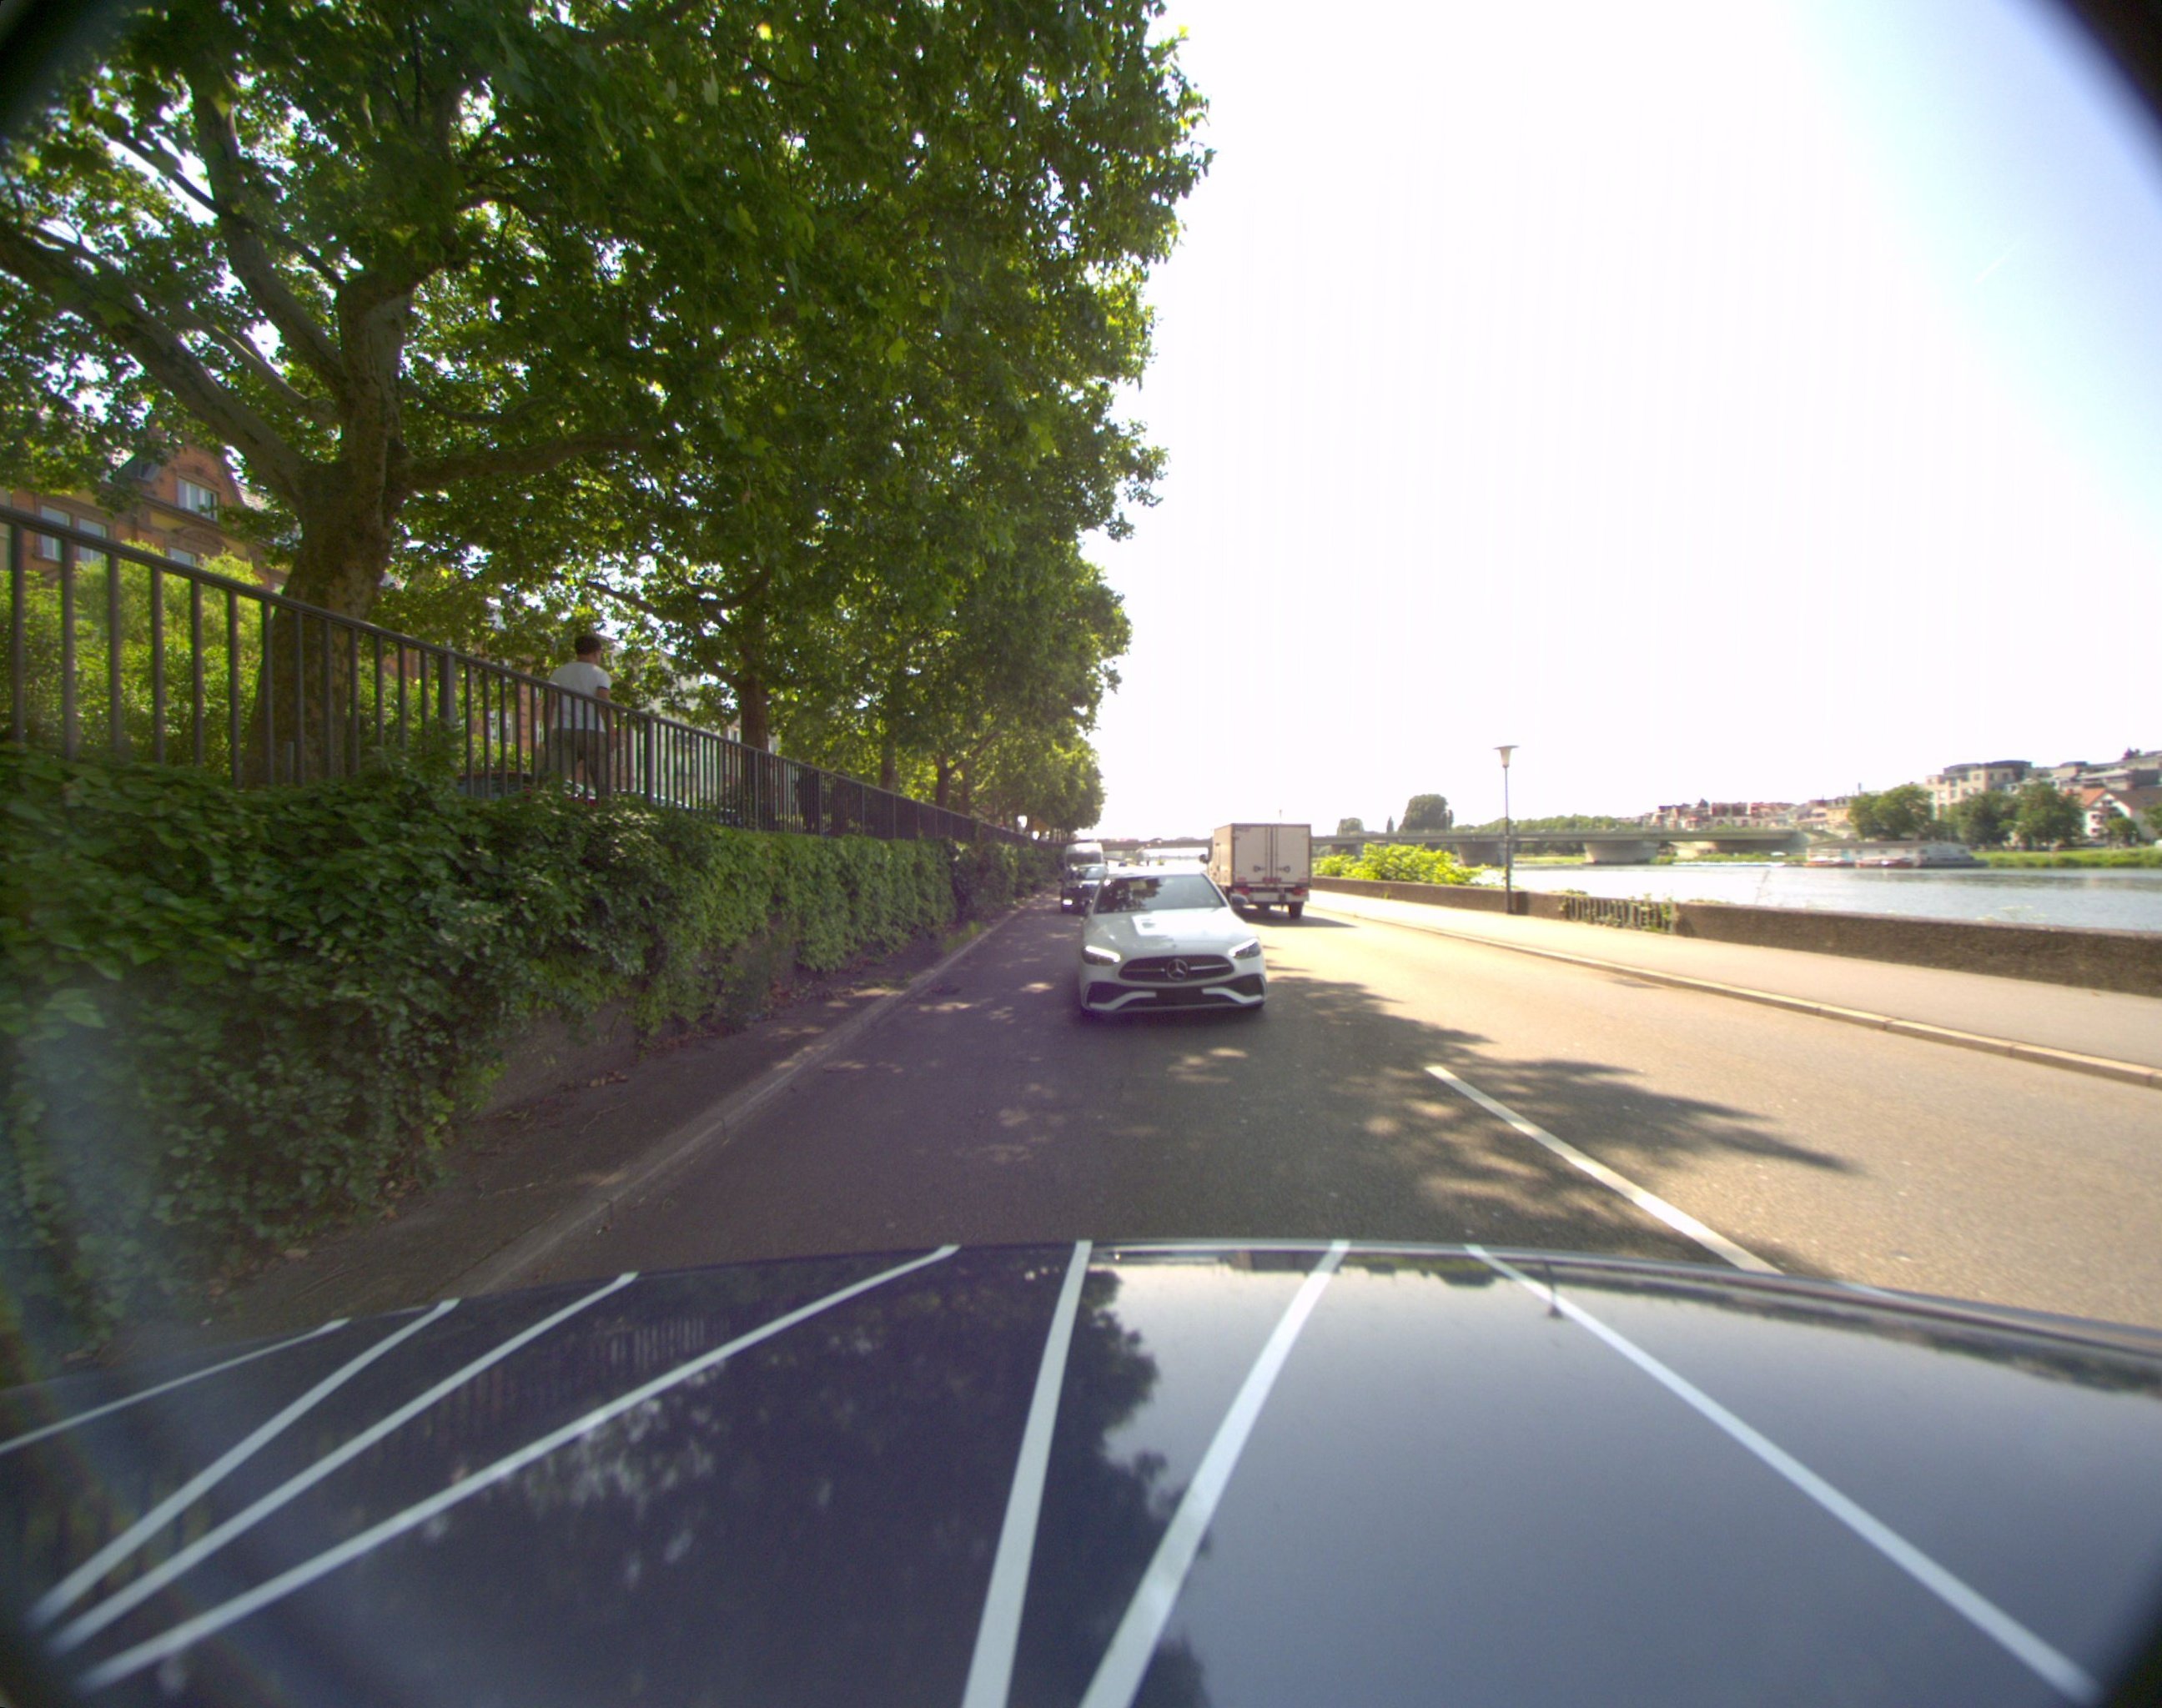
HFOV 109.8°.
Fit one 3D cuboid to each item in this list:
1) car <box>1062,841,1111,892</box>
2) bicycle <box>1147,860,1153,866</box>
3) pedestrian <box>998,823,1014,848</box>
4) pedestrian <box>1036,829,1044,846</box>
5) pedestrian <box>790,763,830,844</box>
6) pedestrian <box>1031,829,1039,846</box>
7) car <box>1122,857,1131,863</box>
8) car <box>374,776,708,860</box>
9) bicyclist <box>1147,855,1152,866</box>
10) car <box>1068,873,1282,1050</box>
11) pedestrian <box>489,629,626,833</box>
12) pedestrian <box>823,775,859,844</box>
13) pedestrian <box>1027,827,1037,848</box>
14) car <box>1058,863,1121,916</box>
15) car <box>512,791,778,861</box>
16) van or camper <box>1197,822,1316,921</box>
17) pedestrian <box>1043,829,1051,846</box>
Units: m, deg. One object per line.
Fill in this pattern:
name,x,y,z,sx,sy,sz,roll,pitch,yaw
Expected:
car,0.278,0.615,40.317,2.351,2.428,6.208,-1,0,0
bicycle,10.473,1.377,115.609,0.654,0.977,1.944,-1,0,1
pedestrian,-3.823,-0.953,38.638,0.713,1.236,0.742,-1,0,0
pedestrian,-3.805,-1.516,70.567,0.738,1.582,0.811,-1,0,0
pedestrian,-5.584,-1.030,15.679,0.649,1.630,0.626,-1,0,-7
pedestrian,-4.311,-1.510,71.201,0.666,1.582,0.651,-1,0,0
car,10.276,1.369,172.016,1.676,1.433,3.901,-1,0,0
car,-7.863,-0.503,11.341,3.741,1.108,1.650,-1,0,-2
bicyclist,10.457,0.935,115.604,0.663,1.692,0.975,-1,0,1
car,0.860,1.002,8.958,1.830,1.411,4.553,-2,0,1
pedestrian,-4.329,-0.982,6.331,0.666,1.582,0.651,-1,0,0
pedestrian,-4.982,-0.912,15.800,0.586,1.411,0.589,-1,0,-7
pedestrian,-3.840,-1.265,59.370,0.738,1.582,0.811,-1,0,0
car,0.236,1.072,24.726,1.756,1.385,4.619,-5,0,0
car,-7.603,-0.465,13.497,3.740,1.108,1.651,-1,0,0
van or camper,4.664,0.441,21.089,2.082,2.384,5.385,0,0,0
pedestrian,-3.200,-1.527,71.292,0.666,1.582,0.765,-1,0,0
